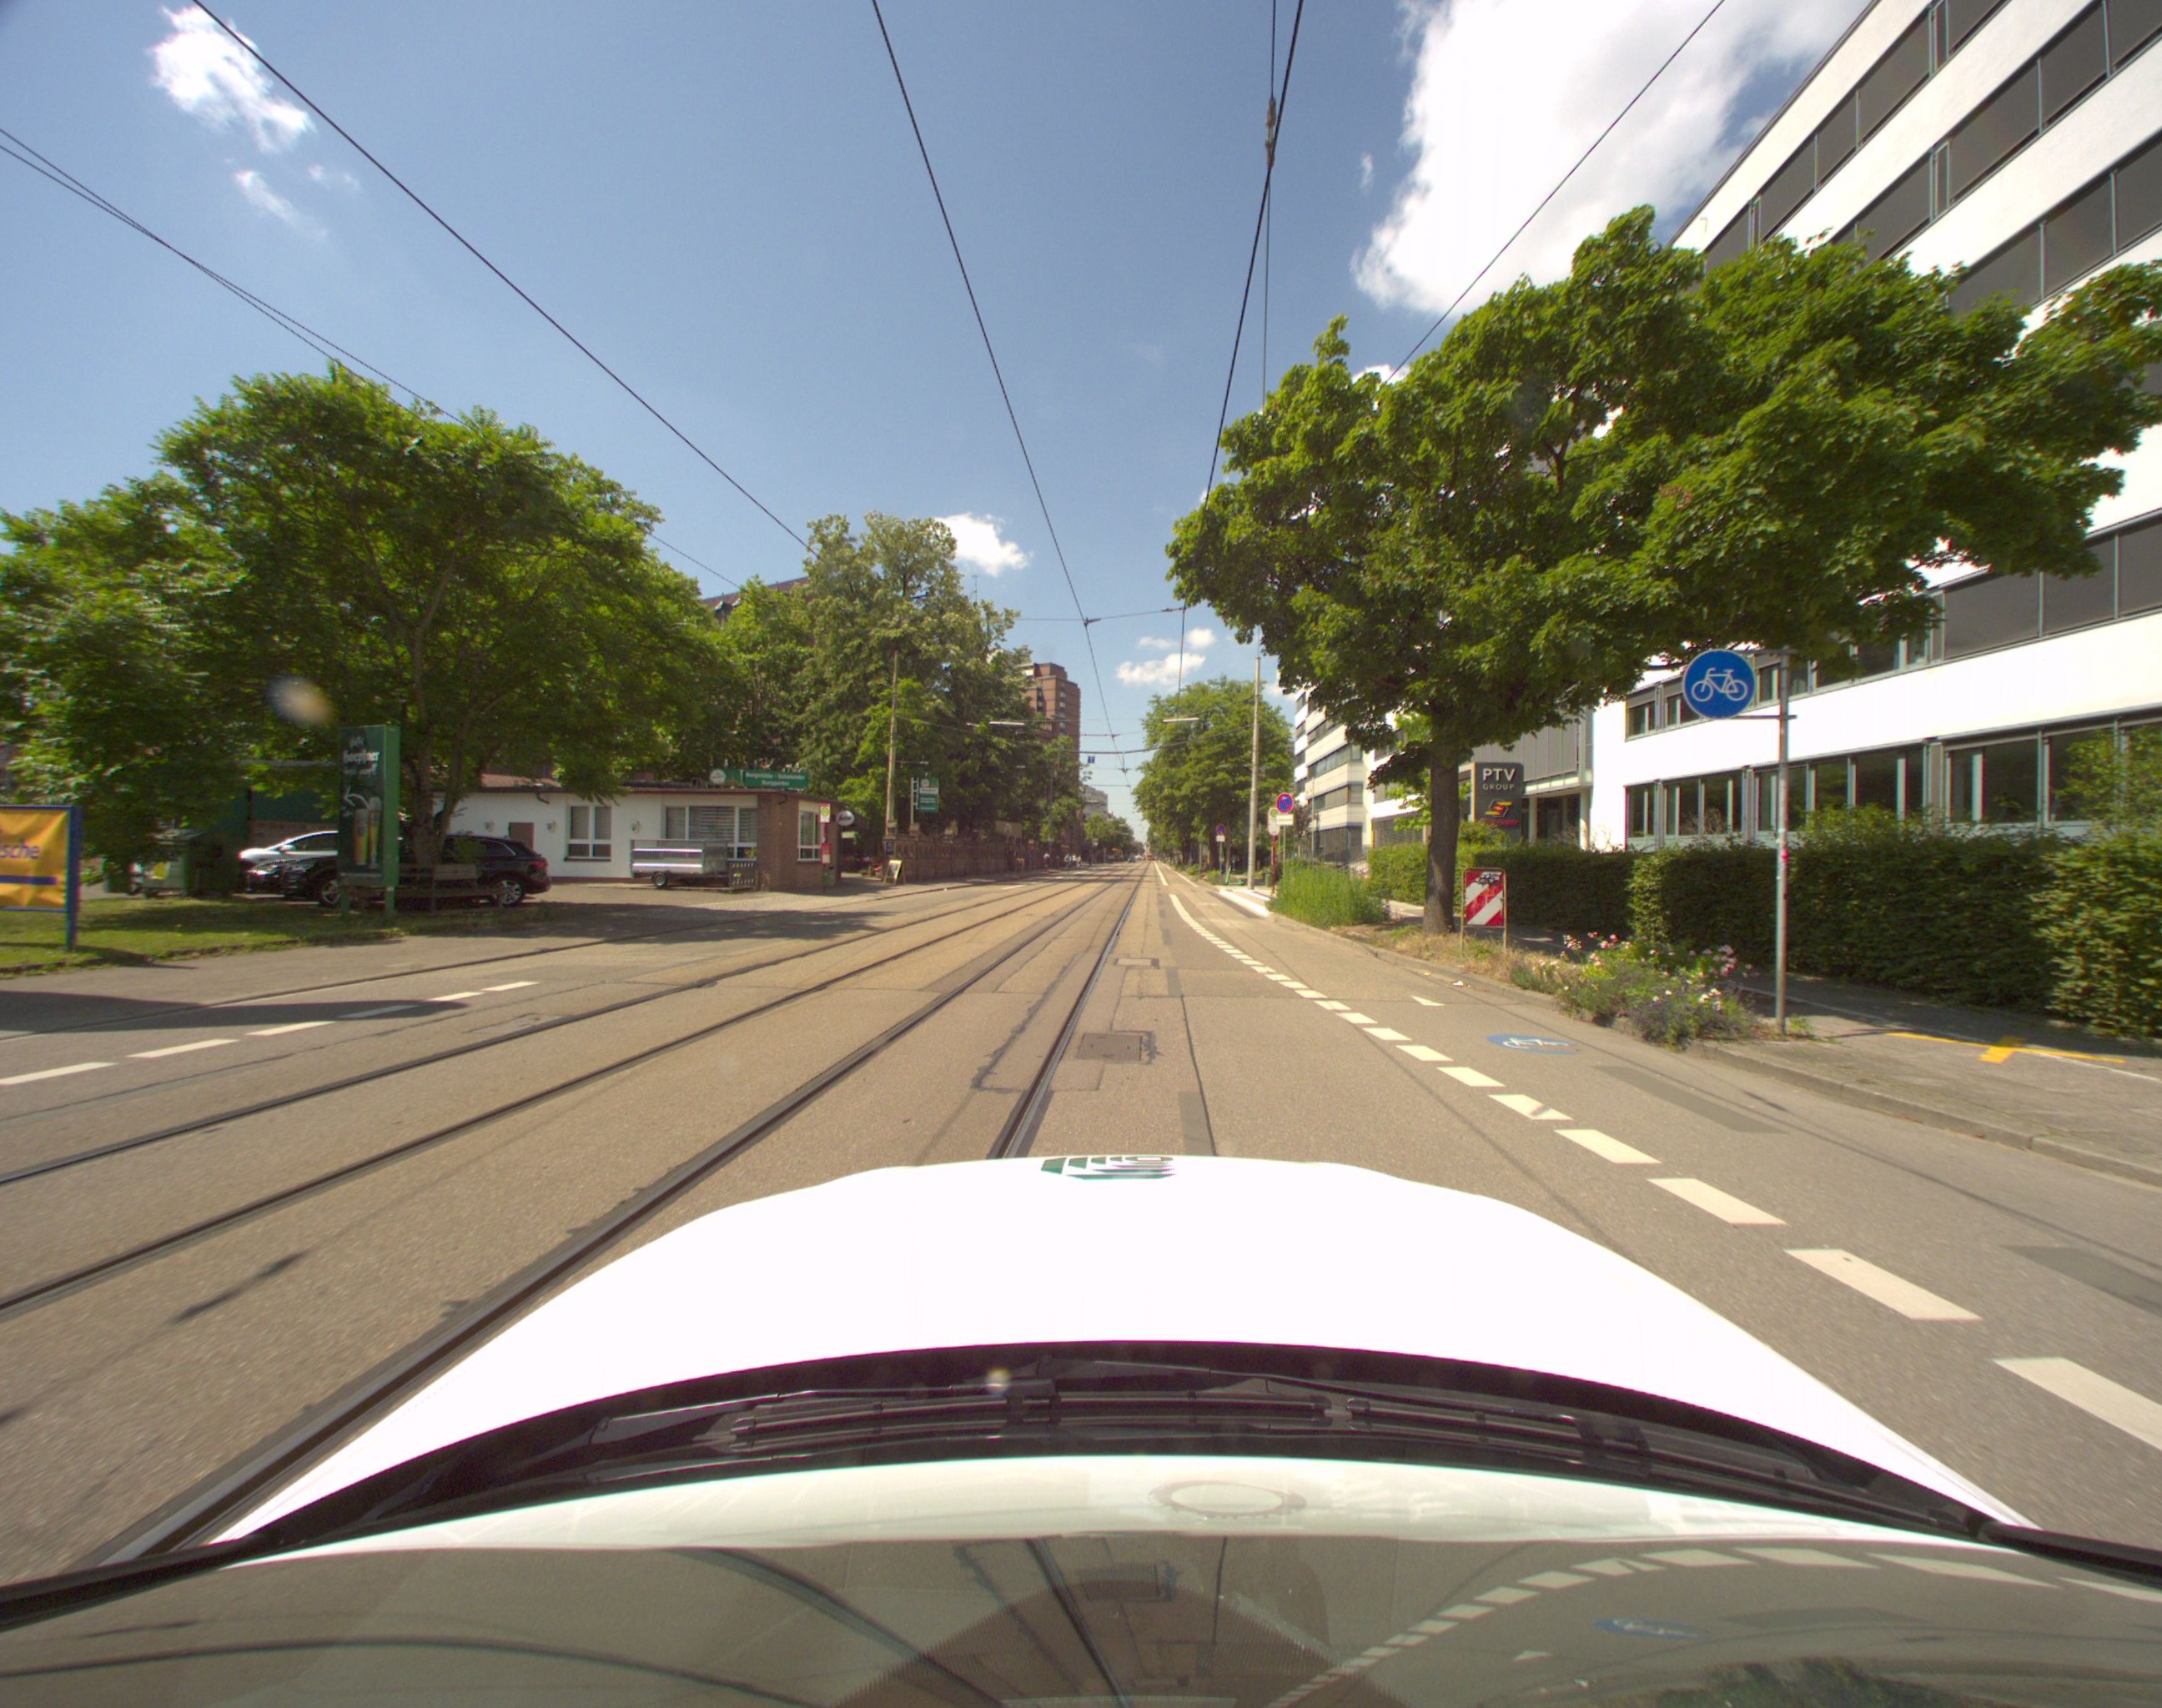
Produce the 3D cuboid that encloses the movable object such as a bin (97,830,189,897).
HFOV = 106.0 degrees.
[{"bbox_3d":[-19.791,0.187,17.190,1.334,1.354,0.761,1,0,17],"label":"movable object such as a bin"}]

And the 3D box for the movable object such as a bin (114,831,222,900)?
[{"bbox_3d":[-18.574,0.228,16.588,1.339,1.354,0.759,1,0,3],"label":"movable object such as a bin"}]

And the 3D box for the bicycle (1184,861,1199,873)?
[{"bbox_3d":[11.793,1.350,86.810,1.556,1.241,0.437,1,-1,6],"label":"bicycle"}]

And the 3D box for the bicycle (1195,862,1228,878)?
[{"bbox_3d":[10.002,1.245,62.428,2.496,1.209,0.649,1,-1,9],"label":"bicycle"}]

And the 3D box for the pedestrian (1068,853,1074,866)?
[{"bbox_3d":[-1.343,0.763,109.091,0.739,1.728,0.868,1,-1,4],"label":"pedestrian"}]

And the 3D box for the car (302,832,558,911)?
[{"bbox_3d":[-14.693,0.373,18.597,4.356,1.590,1.976,1,0,-41],"label":"car"}]

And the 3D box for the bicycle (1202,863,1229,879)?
[{"bbox_3d":[9.326,1.168,56.491,1.781,1.102,0.532,1,-1,3],"label":"bicycle"}]

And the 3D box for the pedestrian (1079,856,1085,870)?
[{"bbox_3d":[0.098,1.173,106.875,0.740,1.728,0.868,1,-1,4],"label":"pedestrian"}]

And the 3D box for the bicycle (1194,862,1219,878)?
[{"bbox_3d":[9.427,1.188,61.254,1.745,1.166,0.531,1,-1,2],"label":"bicycle"}]

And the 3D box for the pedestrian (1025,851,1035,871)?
[{"bbox_3d":[-4.371,0.577,69.787,0.739,1.728,0.868,1,-1,4],"label":"pedestrian"}]

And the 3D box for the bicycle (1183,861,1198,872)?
[{"bbox_3d":[11.729,1.347,87.401,1.556,1.241,0.437,1,-1,6],"label":"bicycle"}]

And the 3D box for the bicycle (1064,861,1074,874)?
[{"bbox_3d":[-1.171,1.247,76.937,0.697,1.204,2.243,-1,0,5],"label":"bicycle"}]

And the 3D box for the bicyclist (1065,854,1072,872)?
[{"bbox_3d":[-1.178,0.883,77.062,0.639,1.679,0.816,1,-1,5],"label":"bicyclist"}]

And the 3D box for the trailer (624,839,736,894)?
[{"bbox_3d":[-13.141,0.393,26.766,2.816,1.704,1.623,1,0,5],"label":"trailer"}]

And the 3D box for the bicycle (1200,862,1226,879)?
[{"bbox_3d":[9.431,1.173,58.260,1.745,1.166,0.531,1,-1,2],"label":"bicycle"}]

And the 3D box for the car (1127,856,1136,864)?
[{"bbox_3d":[12.581,1.466,201.529,1.983,2.013,4.008,2,0,7],"label":"car"}]

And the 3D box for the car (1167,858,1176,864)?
[{"bbox_3d":[21.654,1.712,194.638,1.984,1.310,4.005,1,0,5],"label":"car"}]

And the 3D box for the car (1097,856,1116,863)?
[{"bbox_3d":[7.039,1.521,220.977,4.748,1.717,1.985,1,0,-23],"label":"car"}]

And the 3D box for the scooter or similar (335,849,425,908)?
[{"bbox_3d":[-14.297,0.494,16.638,1.368,1.174,0.401,1,0,-42],"label":"scooter or similar"}]

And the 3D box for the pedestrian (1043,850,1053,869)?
[{"bbox_3d":[-3.189,0.539,77.820,0.811,1.770,0.926,1,-1,4],"label":"pedestrian"}]

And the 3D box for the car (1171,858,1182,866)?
[{"bbox_3d":[17.683,1.484,151.072,1.984,1.310,4.005,1,0,5],"label":"car"}]

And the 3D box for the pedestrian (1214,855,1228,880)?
[{"bbox_3d":[9.871,0.965,57.307,0.802,1.715,0.577,1,-1,-42],"label":"pedestrian"}]

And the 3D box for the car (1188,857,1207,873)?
[{"bbox_3d":[11.482,1.088,80.405,1.626,1.501,4.005,1,0,5],"label":"car"}]

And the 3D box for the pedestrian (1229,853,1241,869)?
[{"bbox_3d":[18.085,0.816,95.798,1.211,1.827,0.832,1,-1,1],"label":"pedestrian"}]

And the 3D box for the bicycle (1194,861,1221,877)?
[{"bbox_3d":[9.815,1.187,63.177,1.985,1.209,0.663,1,-1,9],"label":"bicycle"}]

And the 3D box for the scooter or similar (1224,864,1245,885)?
[{"bbox_3d":[8.388,1.116,44.516,1.053,1.156,0.371,0,-1,5],"label":"scooter or similar"}]

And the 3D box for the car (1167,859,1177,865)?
[{"bbox_3d":[20.288,1.690,181.972,1.984,1.310,4.005,1,0,5],"label":"car"}]

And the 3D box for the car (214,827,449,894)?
[{"bbox_3d":[-19.427,0.187,21.438,4.354,1.592,1.889,1,0,-38],"label":"car"}]

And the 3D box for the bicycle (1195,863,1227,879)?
[{"bbox_3d":[10.278,1.323,64.550,2.496,1.209,0.743,1,-1,9],"label":"bicycle"}]

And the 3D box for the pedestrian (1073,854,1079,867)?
[{"bbox_3d":[-0.681,0.849,107.620,0.739,1.728,0.868,1,-1,4],"label":"pedestrian"}]

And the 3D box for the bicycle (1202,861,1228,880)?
[{"bbox_3d":[9.465,1.154,57.661,1.745,1.271,0.531,1,-1,2],"label":"bicycle"}]

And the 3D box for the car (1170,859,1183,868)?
[{"bbox_3d":[15.240,1.536,129.758,1.984,1.310,4.005,1,0,5],"label":"car"}]

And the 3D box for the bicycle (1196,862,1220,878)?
[{"bbox_3d":[9.650,1.198,61.741,1.745,1.166,0.531,1,-1,2],"label":"bicycle"}]
